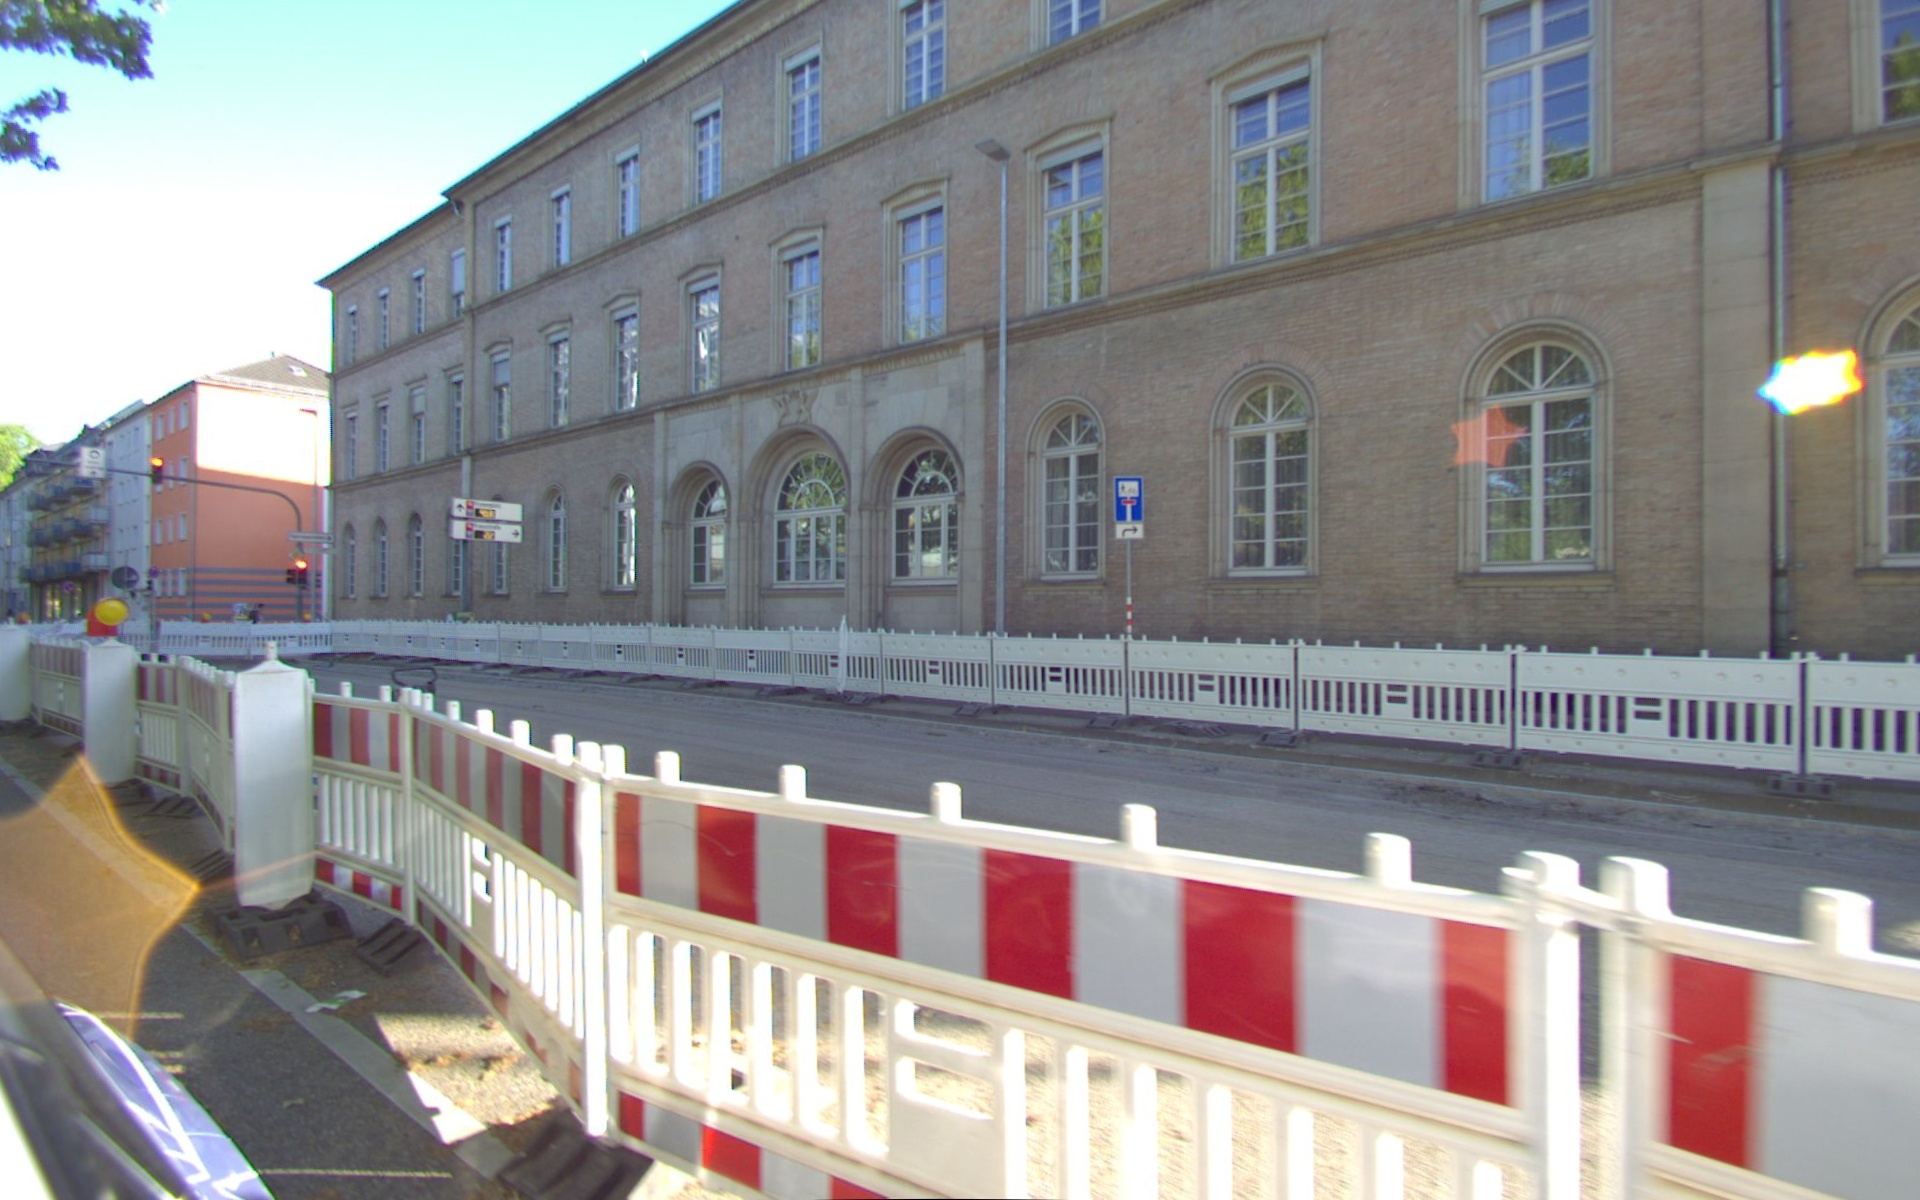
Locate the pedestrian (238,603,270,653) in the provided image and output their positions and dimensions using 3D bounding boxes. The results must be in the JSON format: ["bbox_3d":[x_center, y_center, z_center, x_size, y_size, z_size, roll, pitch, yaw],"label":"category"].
[{"bbox_3d":[-25.539,1.012,36.620,0.870,1.785,0.749,1,-2,-39],"label":"pedestrian"}]
